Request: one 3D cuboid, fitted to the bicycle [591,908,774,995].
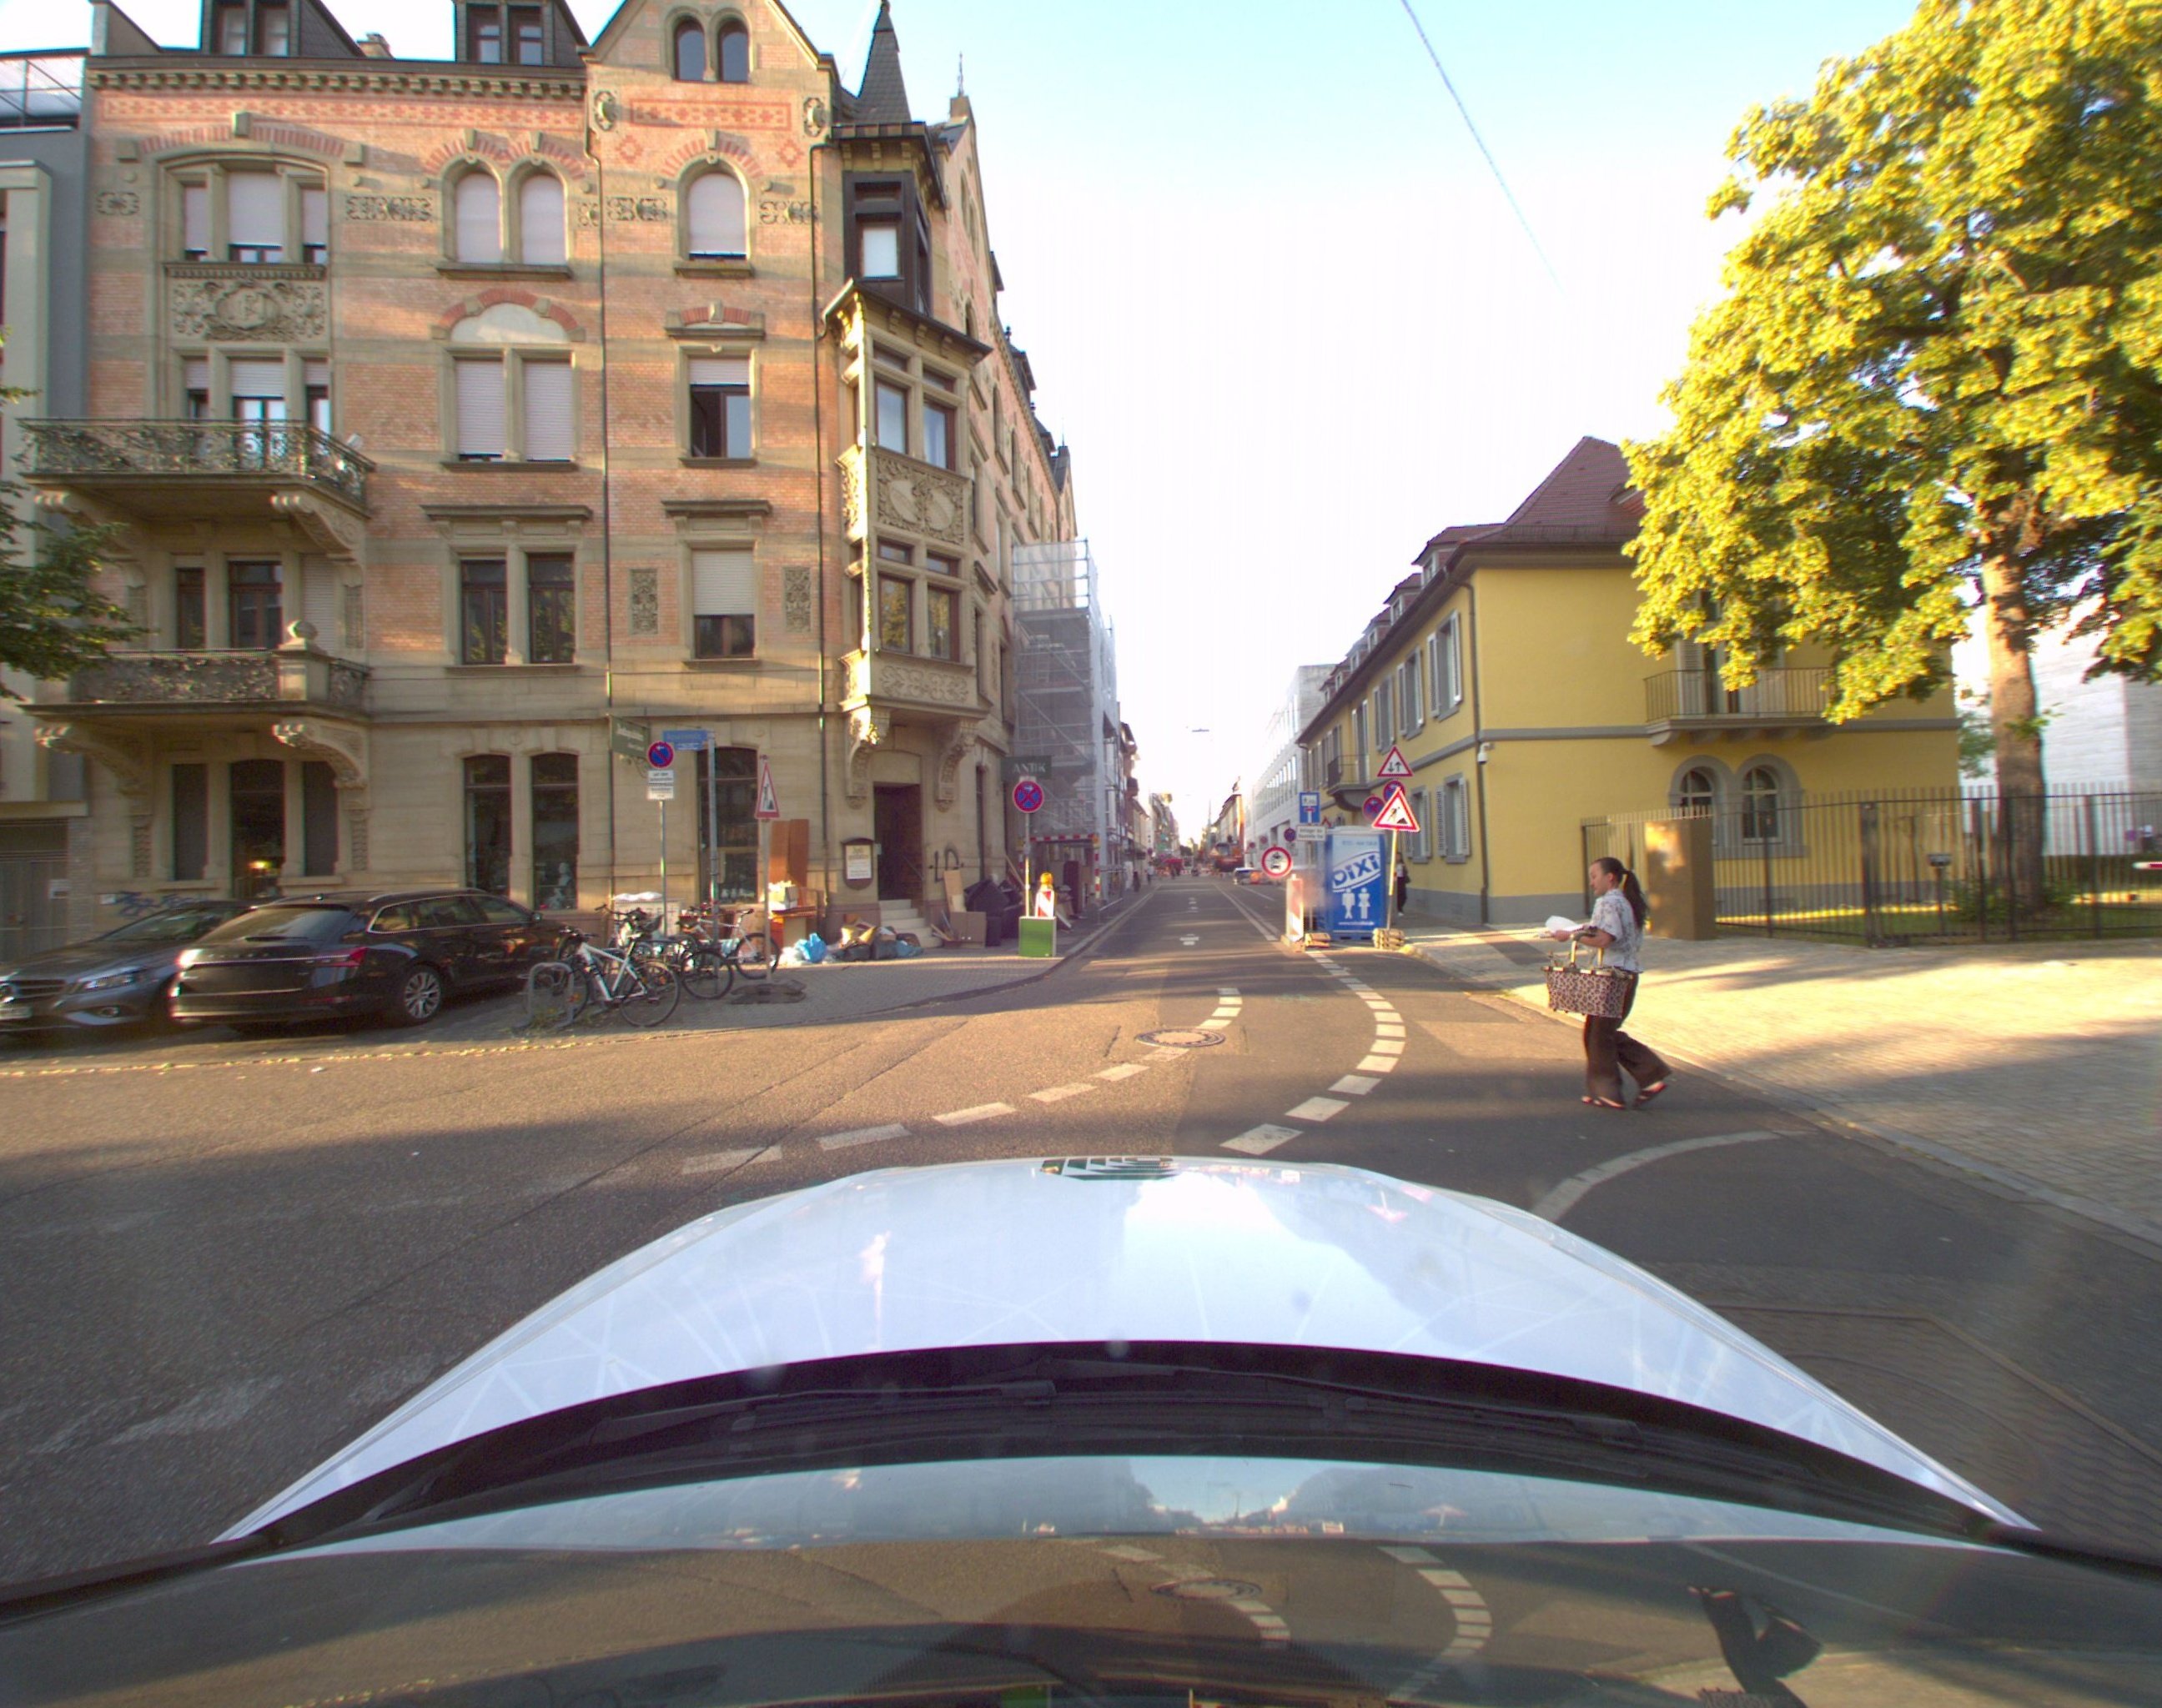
[{"bbox_3d":[-5.323,1.292,10.964,2.099,1.014,0.639,-2,-1,-4],"label":"bicycle"}]

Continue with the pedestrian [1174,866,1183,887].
[{"bbox_3d":[6.849,1.599,57.324,0.501,1.461,0.514,-2,-1,13],"label":"pedestrian"}]

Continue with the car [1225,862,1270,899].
[{"bbox_3d":[7.424,1.172,36.555,1.708,1.520,3.228,-2,-1,8],"label":"car"}]

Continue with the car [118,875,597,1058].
[{"bbox_3d":[-8.250,1.127,10.053,1.900,1.511,4.537,-2,1,-2],"label":"car"}]

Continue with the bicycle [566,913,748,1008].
[{"bbox_3d":[-5.111,1.274,9.898,1.822,1.014,0.639,-2,-1,-4],"label":"bicycle"}]

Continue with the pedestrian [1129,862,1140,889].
[{"bbox_3d":[3.523,1.431,53.662,0.673,1.733,0.700,-1,-2,4],"label":"pedestrian"}]

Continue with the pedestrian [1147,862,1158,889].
[{"bbox_3d":[4.758,1.452,54.318,0.508,1.764,0.507,-1,-1,-34],"label":"pedestrian"}]

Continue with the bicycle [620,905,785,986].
[{"bbox_3d":[-5.404,1.301,11.704,2.099,1.040,0.465,-2,-1,-4],"label":"bicycle"}]

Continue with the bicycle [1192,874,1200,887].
[{"bbox_3d":[8.081,1.854,57.366,0.502,0.884,1.480,-2,-1,7],"label":"bicycle"}]

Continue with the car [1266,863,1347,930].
[{"bbox_3d":[5.508,1.000,20.229,1.532,1.520,3.228,0,-1,8],"label":"car"}]

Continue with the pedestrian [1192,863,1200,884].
[{"bbox_3d":[8.059,1.362,57.307,0.502,1.461,0.513,-2,-1,6],"label":"pedestrian"}]

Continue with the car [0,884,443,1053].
[{"bbox_3d":[-10.806,1.243,10.369,1.857,1.479,4.537,-2,0,-2],"label":"car"}]

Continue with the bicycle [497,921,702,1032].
[{"bbox_3d":[-5.100,1.283,8.687,1.820,1.047,0.571,-2,-1,-1],"label":"bicycle"}]

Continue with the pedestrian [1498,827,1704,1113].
[{"bbox_3d":[3.363,0.680,5.290,0.643,1.659,0.948,-1,-1,-45],"label":"pedestrian"}]

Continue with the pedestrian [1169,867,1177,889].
[{"bbox_3d":[6.215,1.606,55.191,0.502,1.461,0.513,-2,-1,8],"label":"pedestrian"}]

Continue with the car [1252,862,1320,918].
[{"bbox_3d":[6.122,1.016,24.671,1.532,1.520,3.987,-2,-1,8],"label":"car"}]

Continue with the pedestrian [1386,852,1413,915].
[{"bbox_3d":[8.304,0.768,21.253,0.464,1.595,0.675,-2,-1,10],"label":"pedestrian"}]
